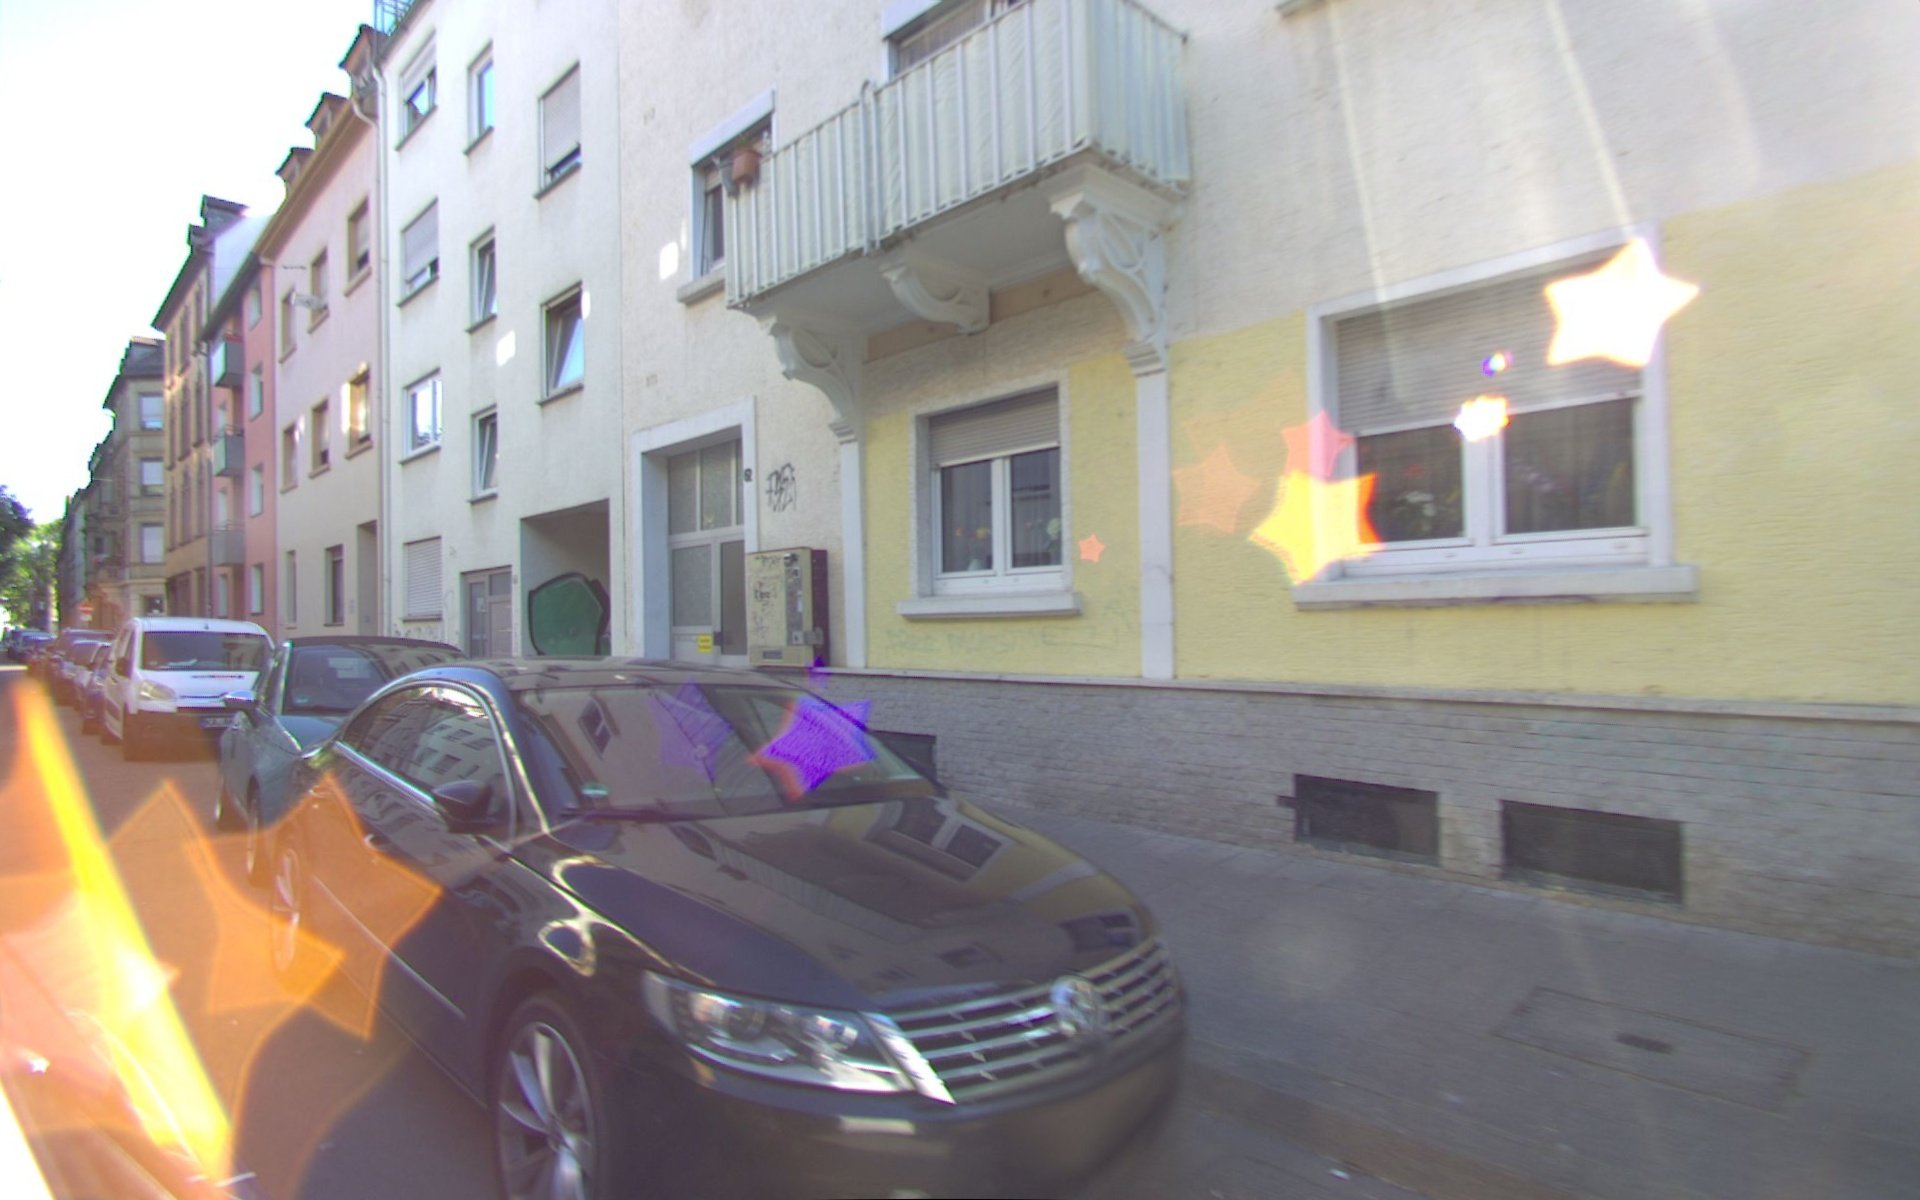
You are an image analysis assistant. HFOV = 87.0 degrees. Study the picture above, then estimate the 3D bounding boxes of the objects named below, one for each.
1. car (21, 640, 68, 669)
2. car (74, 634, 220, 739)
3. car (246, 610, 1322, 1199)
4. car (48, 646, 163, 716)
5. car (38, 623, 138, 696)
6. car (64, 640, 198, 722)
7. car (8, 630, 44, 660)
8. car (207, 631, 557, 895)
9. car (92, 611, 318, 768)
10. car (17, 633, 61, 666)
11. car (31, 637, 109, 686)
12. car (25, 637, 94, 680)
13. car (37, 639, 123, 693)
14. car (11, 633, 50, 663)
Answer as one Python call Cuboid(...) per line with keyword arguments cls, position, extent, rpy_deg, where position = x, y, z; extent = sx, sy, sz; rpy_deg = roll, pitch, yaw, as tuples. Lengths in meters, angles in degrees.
Cuboid(cls="car", position=(-50.320, 2.987, 55.616), extent=(1.743, 1.483, 3.935), rpy_deg=(4, -5, -44))
Cuboid(cls="car", position=(-13.635, 1.388, 17.045), extent=(1.649, 1.539, 4.092), rpy_deg=(4, -4, -38))
Cuboid(cls="car", position=(-1.148, 0.854, 3.768), extent=(1.758, 1.454, 4.395), rpy_deg=(4, -5, -44))
Cuboid(cls="car", position=(-19.967, 1.837, 23.593), extent=(1.743, 1.483, 3.819), rpy_deg=(4, -5, -44))
Cuboid(cls="car", position=(-23.691, 1.594, 27.456), extent=(1.743, 1.838, 4.106), rpy_deg=(4, -5, -44))
Cuboid(cls="car", position=(-16.663, 1.563, 20.266), extent=(1.651, 1.470, 4.087), rpy_deg=(5, -5, -44))
Cuboid(cls="car", position=(-68.612, 3.334, 74.342), extent=(1.743, 2.103, 4.267), rpy_deg=(4, -5, -44))
Cuboid(cls="car", position=(-4.412, 1.001, 7.492), extent=(1.573, 1.462, 3.491), rpy_deg=(4, -4, -40))
Cuboid(cls="car", position=(-10.182, 1.111, 13.523), extent=(4.317, 1.754, 1.729), rpy_deg=(-2, -5, 45))
Cuboid(cls="car", position=(-54.116, 2.886, 59.442), extent=(1.743, 1.871, 3.996), rpy_deg=(4, -5, -44))
Cuboid(cls="car", position=(-30.217, 2.065, 34.324), extent=(1.743, 1.545, 4.106), rpy_deg=(4, -5, -44))
Cuboid(cls="car", position=(-34.228, 2.218, 38.431), extent=(1.743, 1.545, 4.106), rpy_deg=(4, -5, -44))
Cuboid(cls="car", position=(-27.062, 1.994, 31.080), extent=(1.743, 1.545, 4.106), rpy_deg=(3, -4, -44))
Cuboid(cls="car", position=(-63.905, 3.281, 69.558), extent=(1.743, 1.940, 4.267), rpy_deg=(4, -5, -44))
